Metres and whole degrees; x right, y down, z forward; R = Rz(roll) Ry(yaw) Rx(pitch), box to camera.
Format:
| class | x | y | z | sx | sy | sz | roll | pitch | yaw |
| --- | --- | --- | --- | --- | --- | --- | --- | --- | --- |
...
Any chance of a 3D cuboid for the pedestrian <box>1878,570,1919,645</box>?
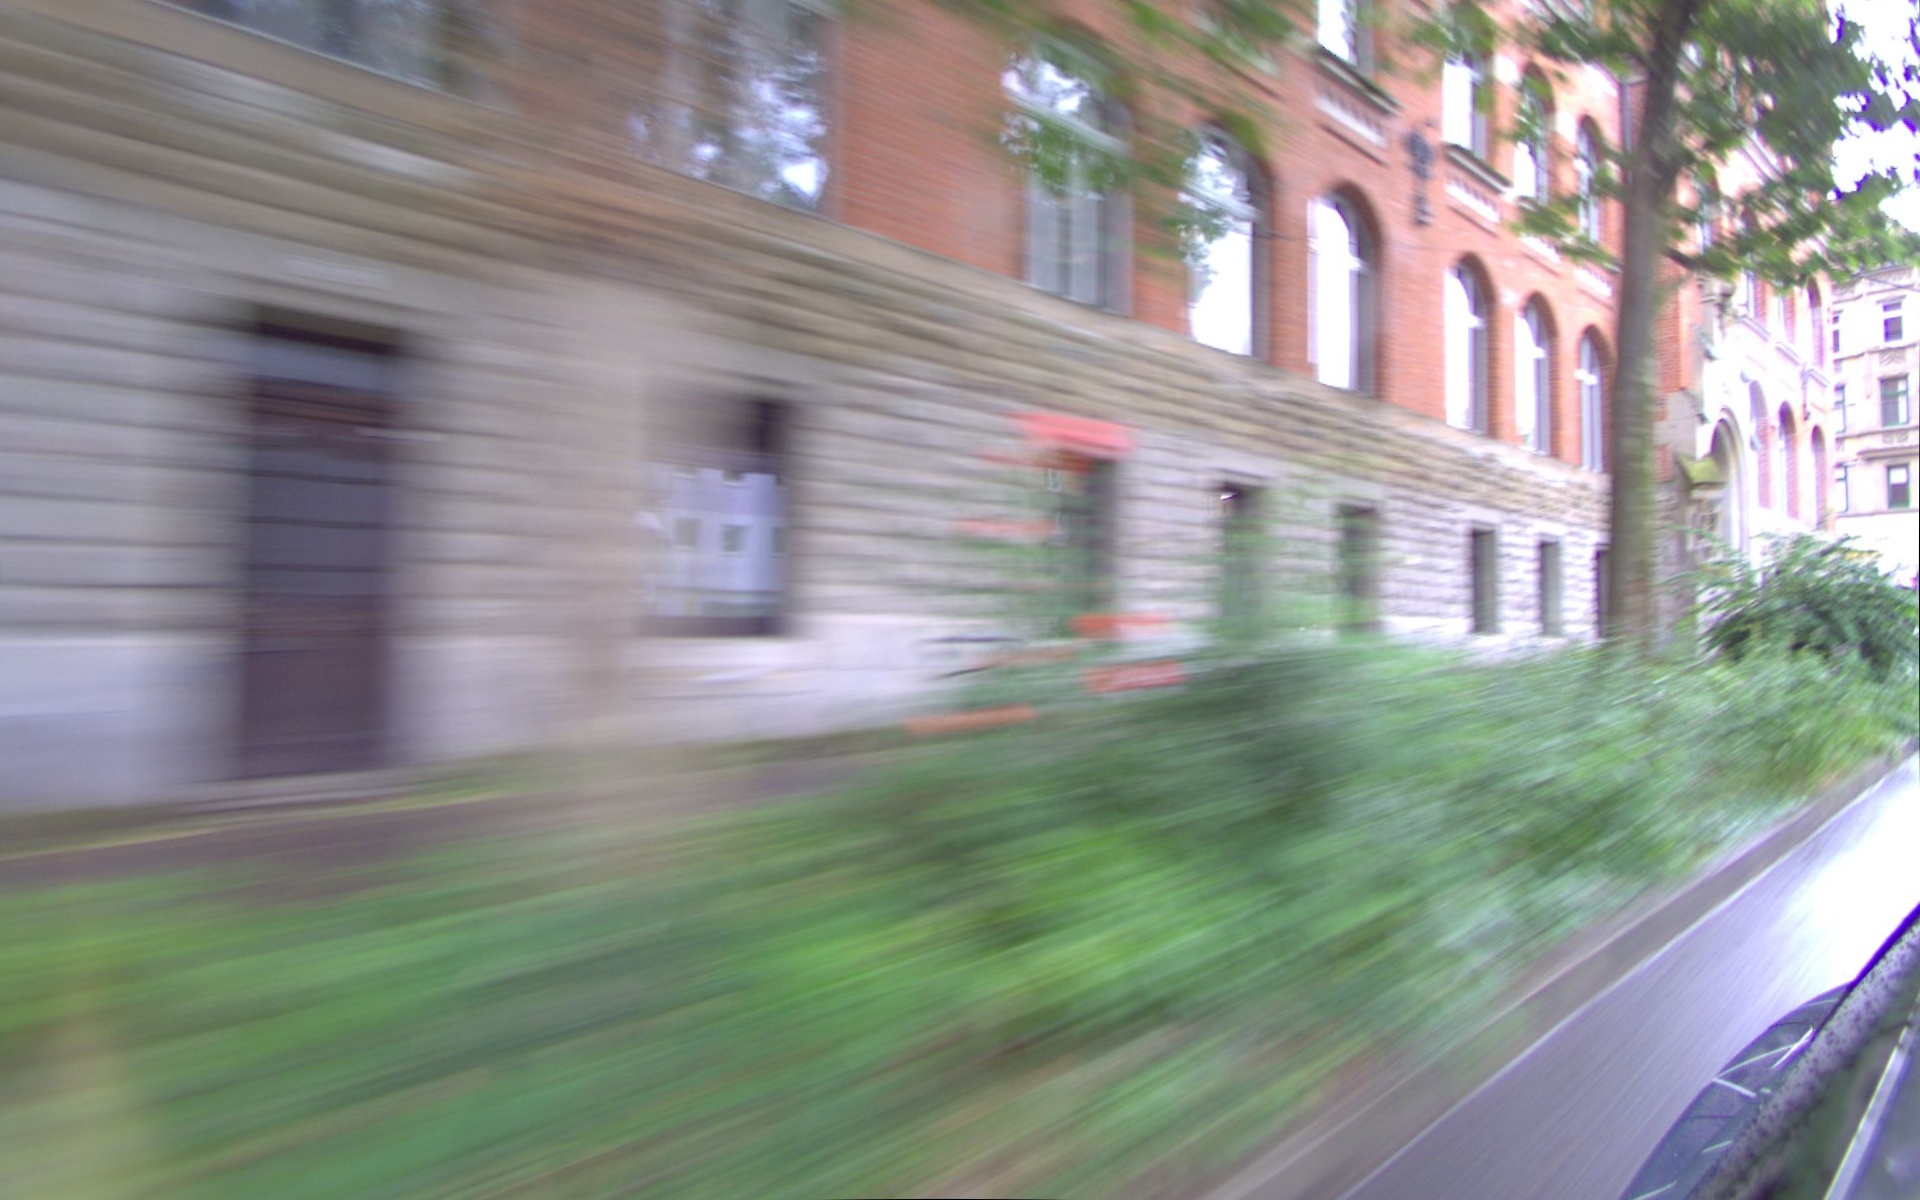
| class | x | y | z | sx | sy | sz | roll | pitch | yaw |
| --- | --- | --- | --- | --- | --- | --- | --- | --- | --- |
| pedestrian | 24.745 | 0.194 | 26.474 | 1.054 | 1.911 | 0.960 | 2 | -1 | -40 |
